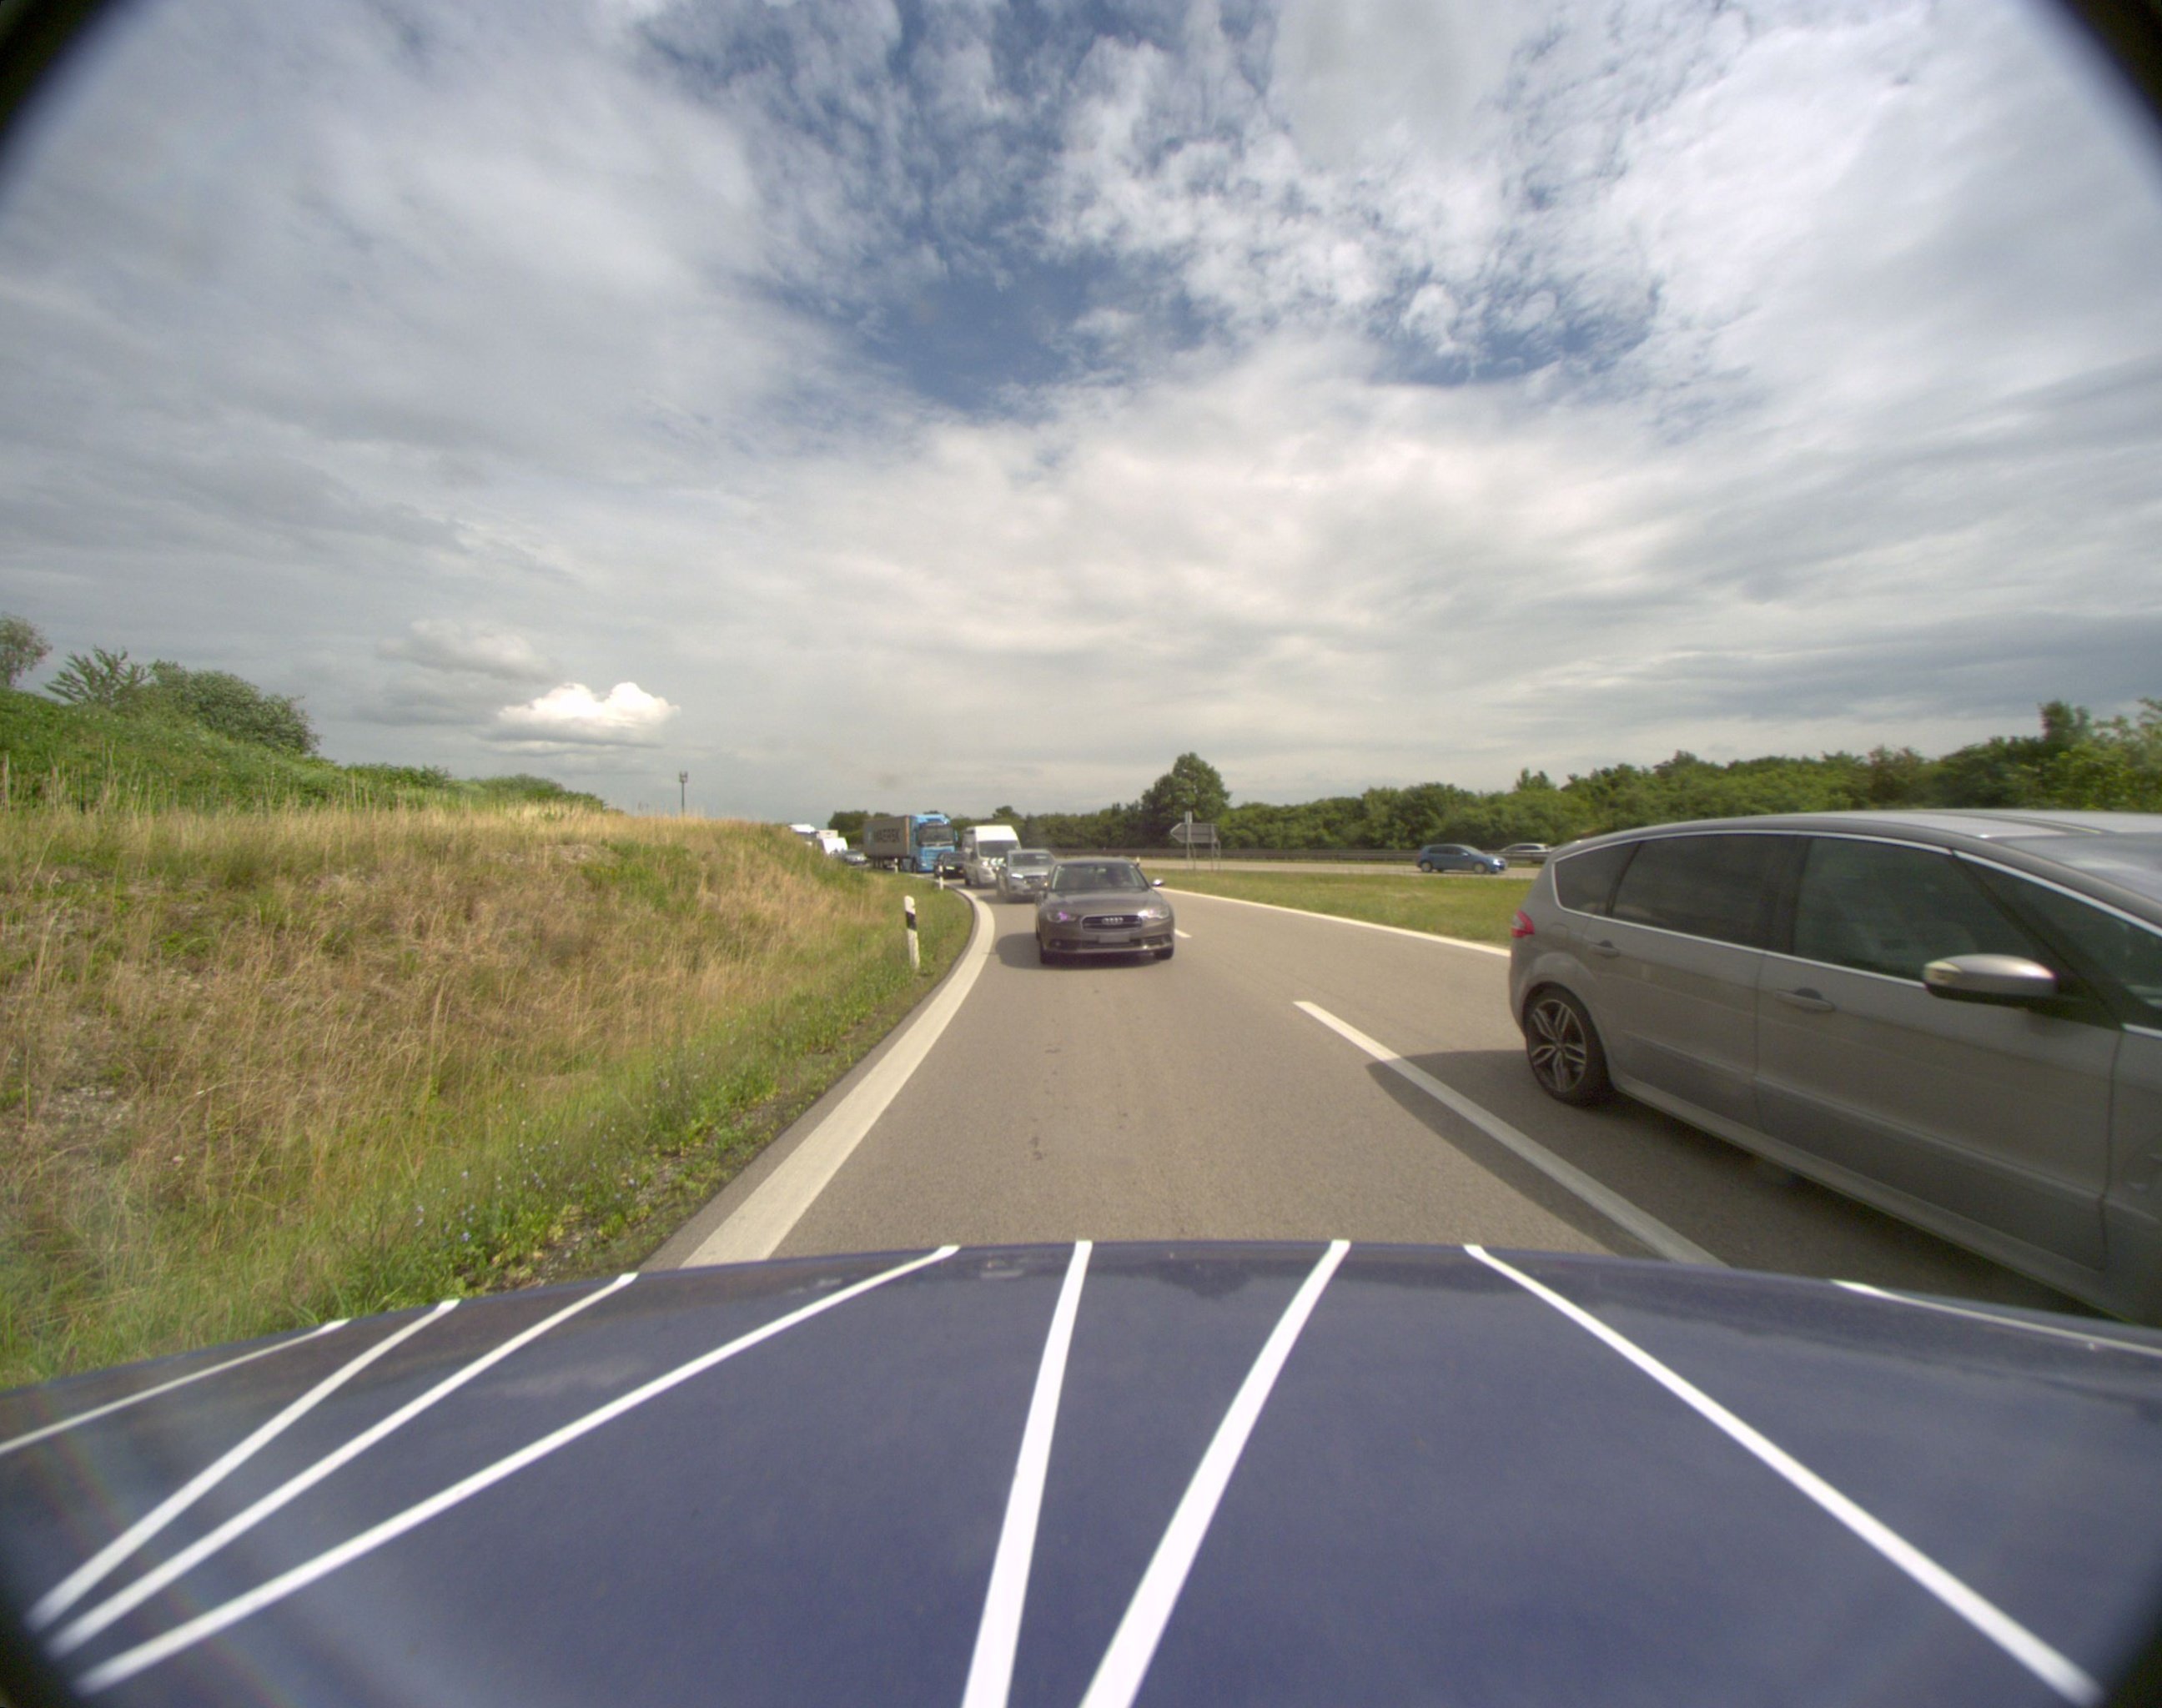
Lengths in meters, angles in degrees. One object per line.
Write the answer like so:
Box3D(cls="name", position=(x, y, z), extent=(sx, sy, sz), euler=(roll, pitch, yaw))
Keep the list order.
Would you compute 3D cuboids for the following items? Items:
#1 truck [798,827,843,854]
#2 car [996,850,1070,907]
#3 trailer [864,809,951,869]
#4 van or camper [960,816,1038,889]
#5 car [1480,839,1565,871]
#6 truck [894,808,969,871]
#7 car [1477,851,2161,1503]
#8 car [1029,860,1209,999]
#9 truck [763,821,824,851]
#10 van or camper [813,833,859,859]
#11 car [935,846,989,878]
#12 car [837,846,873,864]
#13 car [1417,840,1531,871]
Box3D(cls="truck", position=(-35.803, -1.860, 104.269), extent=(2.898, 3.567, 8.921), euler=(-3, 2, -39))
Box3D(cls="car", position=(-1.645, 0.708, 24.503), extent=(1.844, 1.587, 4.169), euler=(-1, 1, -11))
Box3D(cls="trailer", position=(-13.679, -1.086, 58.797), extent=(3.280, 4.137, 11.989), euler=(-3, 1, -29))
Box3D(cls="van or camper", position=(-3.759, -0.087, 33.607), extent=(2.401, 2.892, 5.712), euler=(-2, 1, -16))
Box3D(cls="car", position=(27.627, 0.079, 47.682), extent=(1.848, 1.862, 4.195), euler=(-3, 1, -40))
Box3D(cls="truck", position=(-10.486, -0.963, 52.831), extent=(3.184, 4.050, 6.632), euler=(-3, 1, -27))
Box3D(cls="car", position=(3.676, 0.806, 2.748), extent=(2.026, 1.568, 4.585), euler=(0, 1, -1))
Box3D(cls="car", position=(0.316, 0.920, 11.358), extent=(1.999, 1.506, 4.535), euler=(-2, 1, -6))
Box3D(cls="truck", position=(-33.199, -2.049, 87.372), extent=(3.131, 3.220, 11.129), euler=(-2, 2, -39))
Box3D(cls="van or camper", position=(-23.991, -0.800, 74.339), extent=(2.558, 2.200, 5.692), euler=(-3, 5, -36))
Box3D(cls="car", position=(-6.701, 0.395, 42.392), extent=(2.002, 1.609, 3.991), euler=(-1, 2, -24))
Box3D(cls="car", position=(-20.668, 0.051, 69.362), extent=(2.003, 1.521, 3.989), euler=(-2, 3, -34))
Box3D(cls="car", position=(19.443, 0.035, 37.740), extent=(2.004, 1.415, 4.573), euler=(-1, 2, -42))
